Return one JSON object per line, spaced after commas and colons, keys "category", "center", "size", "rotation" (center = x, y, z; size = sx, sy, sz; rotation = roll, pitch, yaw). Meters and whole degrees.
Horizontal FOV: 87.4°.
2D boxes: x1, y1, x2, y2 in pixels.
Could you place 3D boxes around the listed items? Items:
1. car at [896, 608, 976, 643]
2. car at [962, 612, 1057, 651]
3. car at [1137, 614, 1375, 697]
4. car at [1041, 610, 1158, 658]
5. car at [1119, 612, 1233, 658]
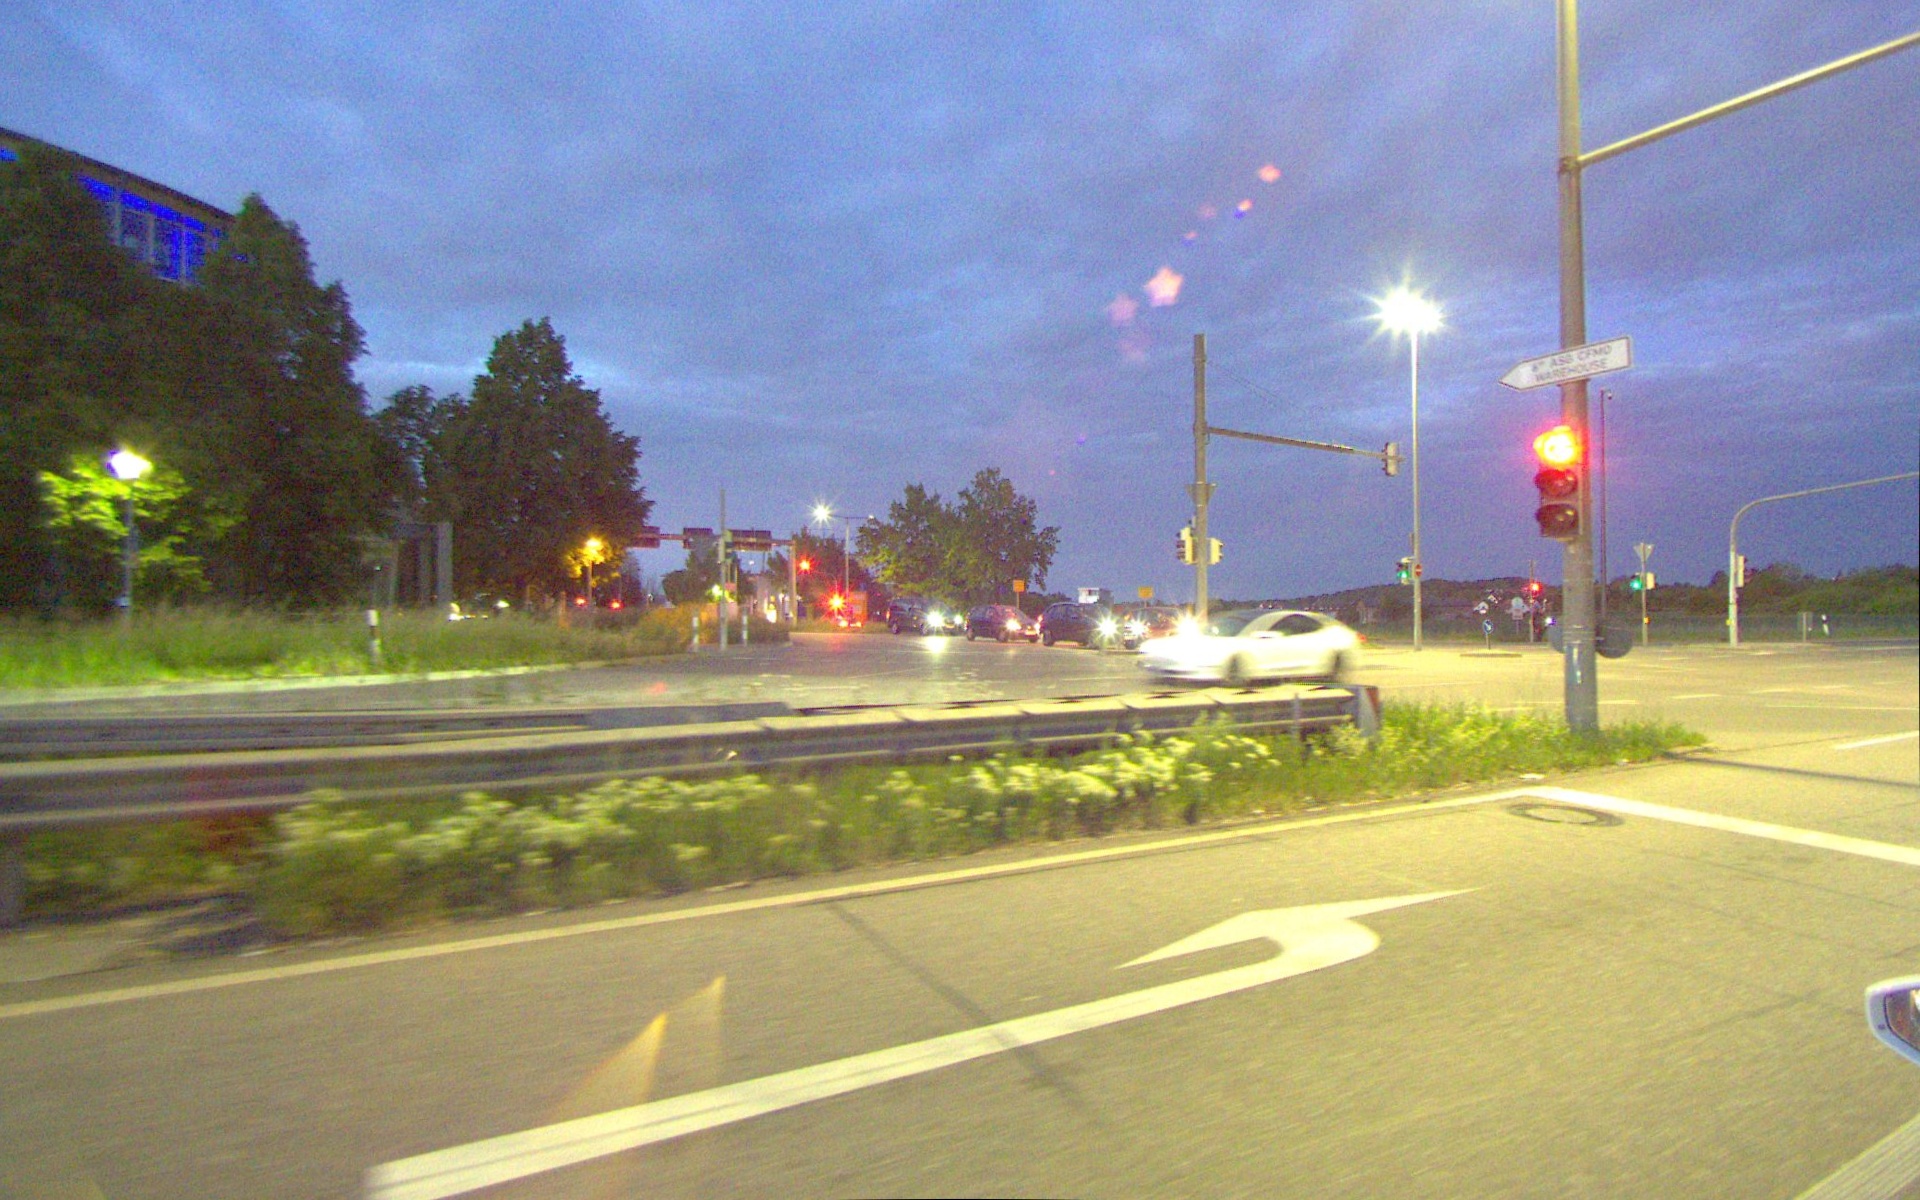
{"category": "car", "center": [-1.313, 1.325, 51.850], "size": [2.185, 1.716, 4.568], "rotation": [1, -1, -31]}
{"category": "car", "center": [1.911, 1.245, 40.079], "size": [1.713, 1.493, 3.960], "rotation": [1, -2, -35]}
{"category": "car", "center": [5.842, 1.024, 19.699], "size": [4.480, 1.444, 1.984], "rotation": [1, -1, -31]}
{"category": "car", "center": [4.718, 1.147, 34.566], "size": [1.710, 1.558, 4.291], "rotation": [1, -2, -31]}
{"category": "car", "center": [7.701, 1.226, 36.128], "size": [1.711, 1.558, 4.018], "rotation": [1, -2, -32]}
